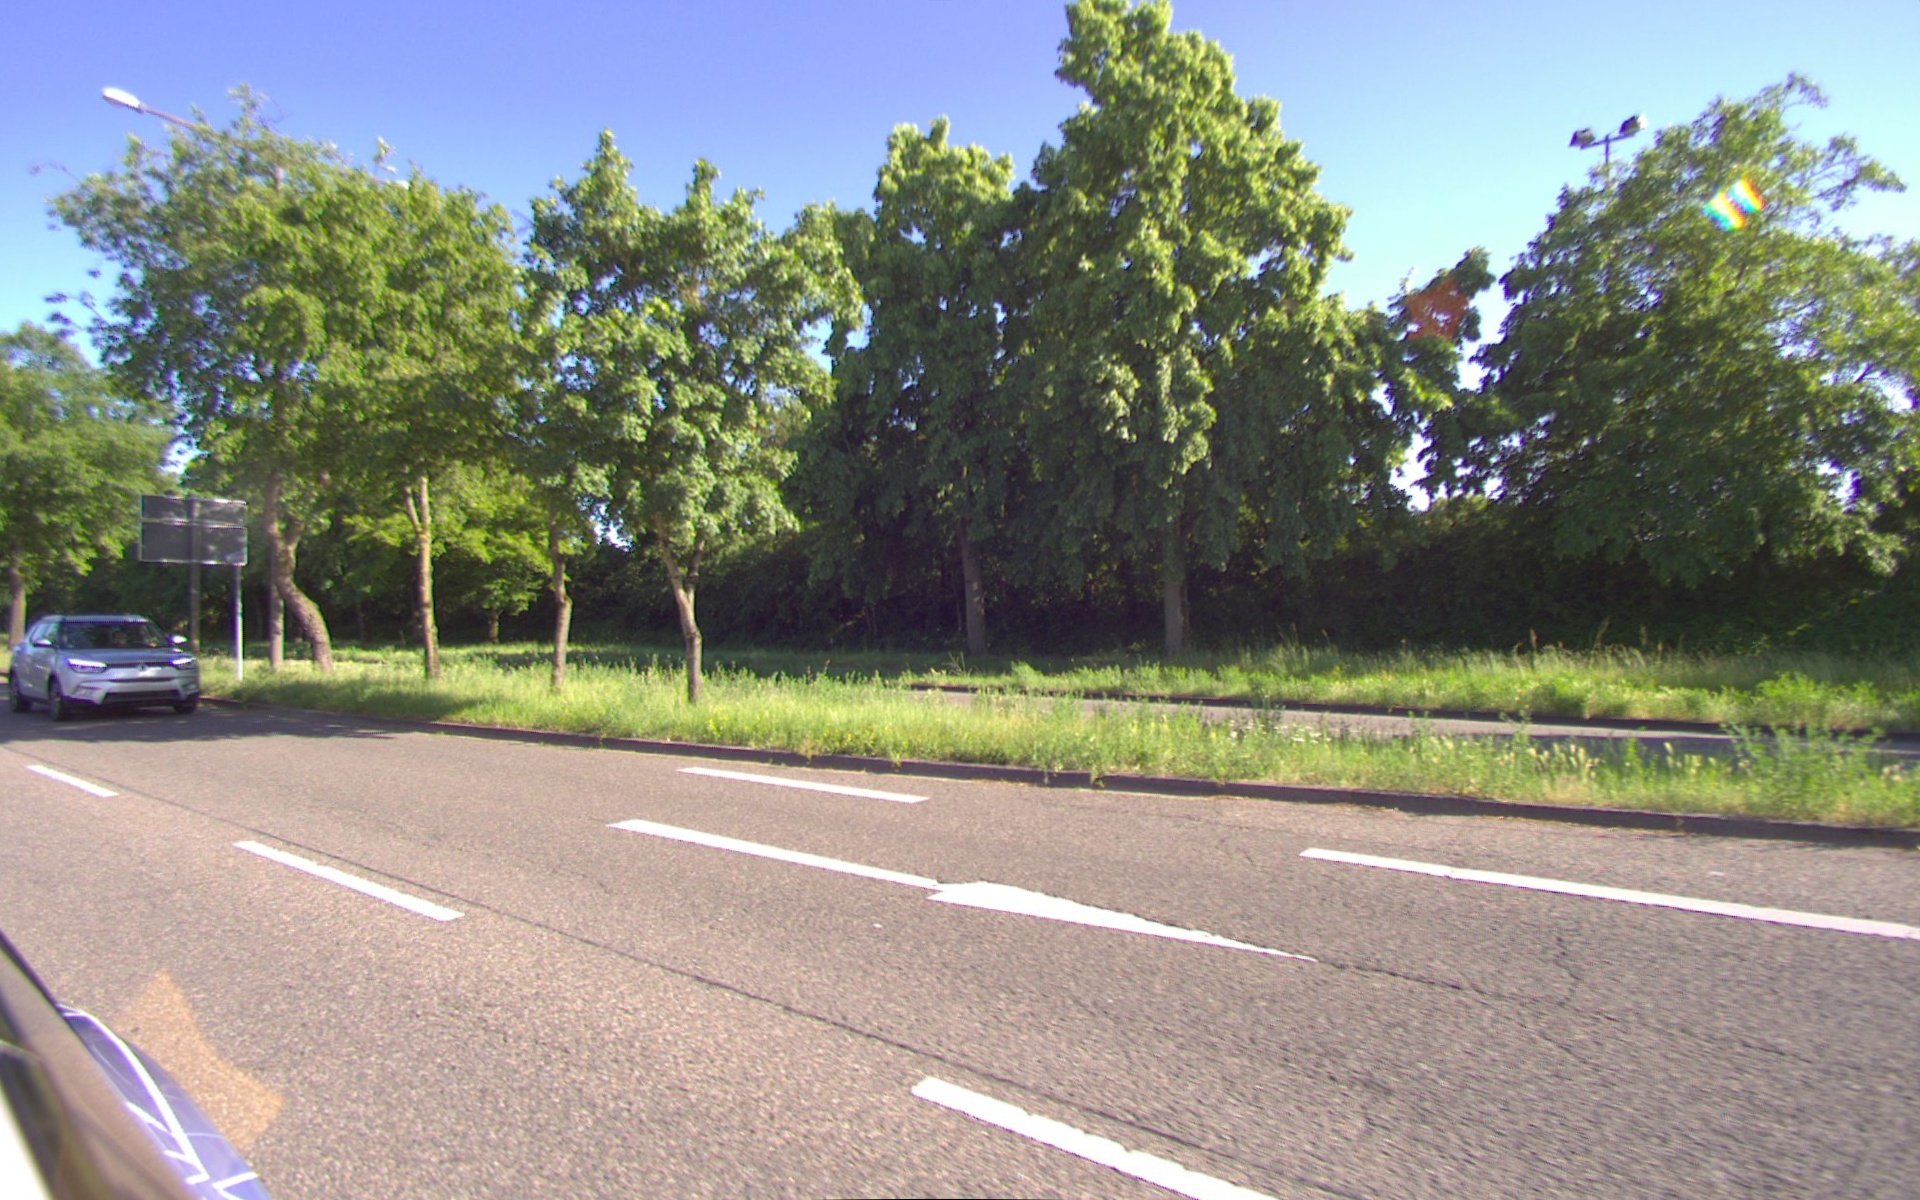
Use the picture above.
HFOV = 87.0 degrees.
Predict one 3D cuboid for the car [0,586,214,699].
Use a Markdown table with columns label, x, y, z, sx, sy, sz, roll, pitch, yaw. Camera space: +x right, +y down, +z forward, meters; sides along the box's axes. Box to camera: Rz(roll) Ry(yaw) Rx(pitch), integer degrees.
| label | x | y | z | sx | sy | sz | roll | pitch | yaw |
| --- | --- | --- | --- | --- | --- | --- | --- | --- | --- |
| car | -14.002 | 0.673 | 16.491 | 4.097 | 1.622 | 1.769 | -1 | -2 | 36 |

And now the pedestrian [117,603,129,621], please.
| label | x | y | z | sx | sy | sz | roll | pitch | yaw |
| --- | --- | --- | --- | --- | --- | --- | --- | --- | --- |
| pedestrian | -82.356 | 1.190 | 99.570 | 0.678 | 1.671 | 0.675 | 0 | 2 | 35 |
